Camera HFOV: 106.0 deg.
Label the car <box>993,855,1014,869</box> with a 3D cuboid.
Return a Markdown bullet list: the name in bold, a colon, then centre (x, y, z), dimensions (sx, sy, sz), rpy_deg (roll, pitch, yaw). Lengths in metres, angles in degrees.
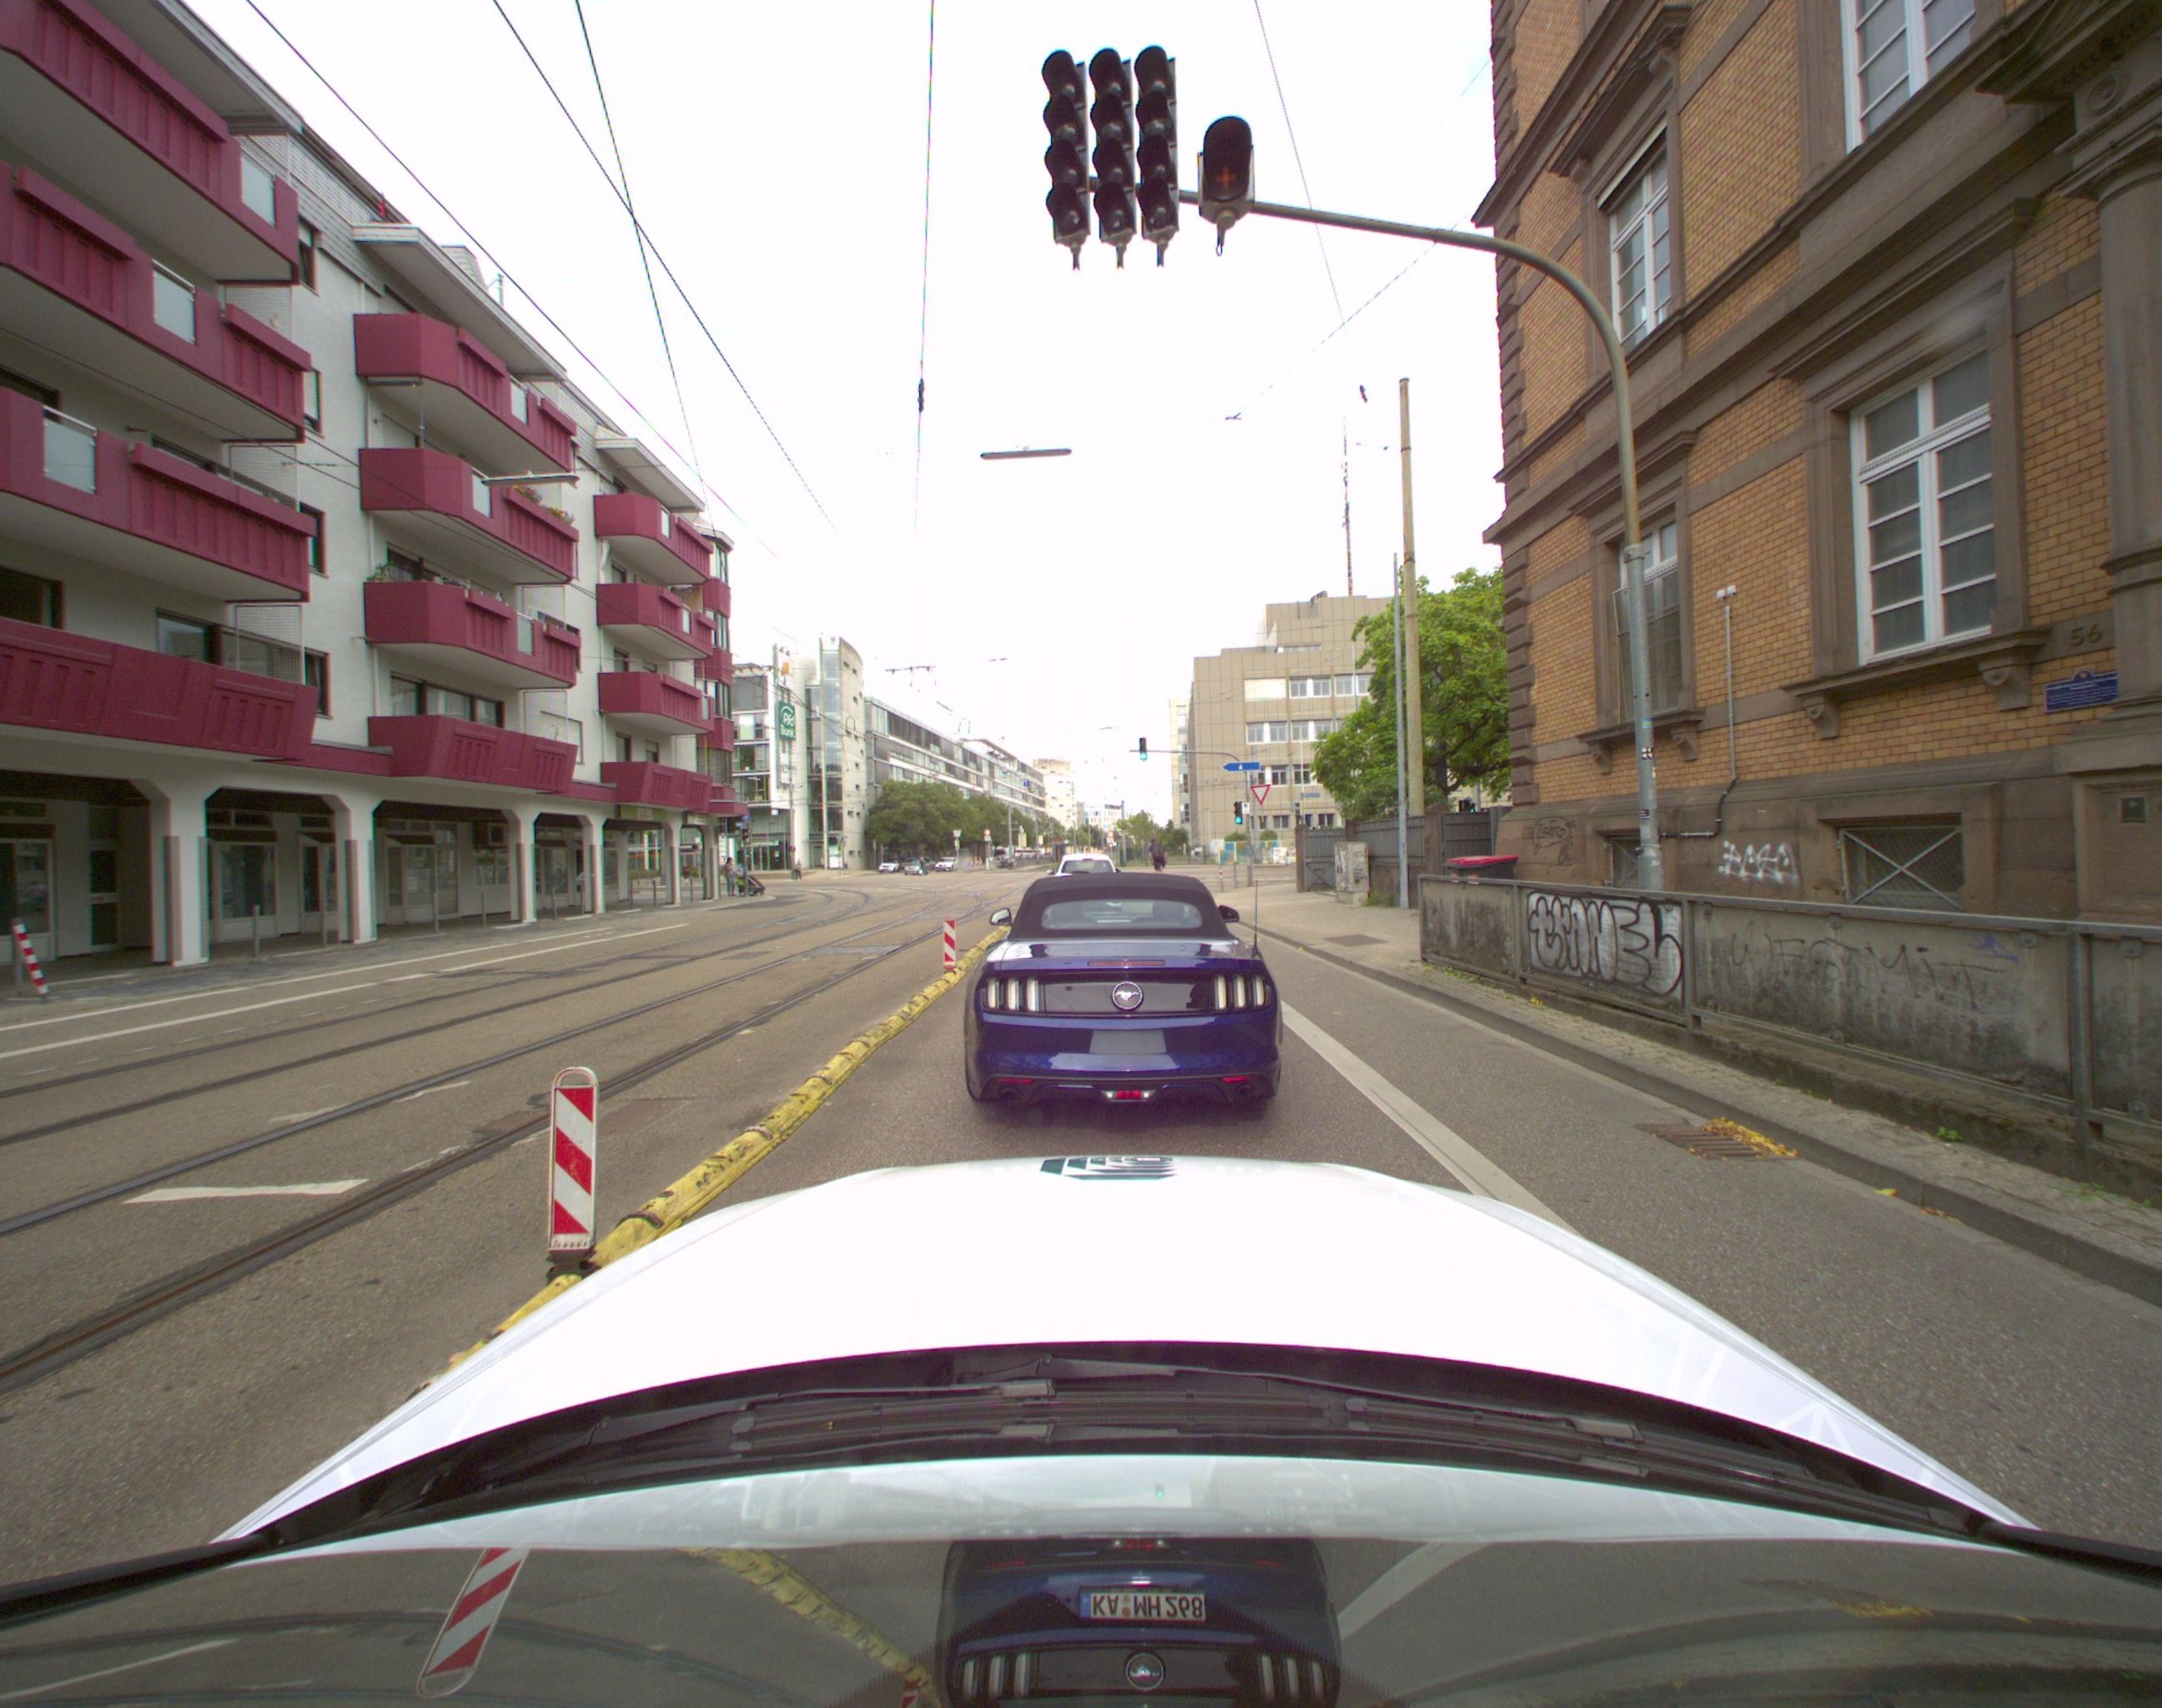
- **car**: centre (-9.276, 0.937, 97.667), dimensions (1.872, 1.628, 4.089), rpy_deg (-2, 0, 2)

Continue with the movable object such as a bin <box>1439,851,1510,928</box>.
- **movable object such as a bin**: centre (6.049, 0.535, 12.553), dimensions (0.649, 1.082, 0.677), rpy_deg (-5, -1, -4)

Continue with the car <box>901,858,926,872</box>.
- **car**: centre (-20.262, 1.303, 98.830), dimensions (1.820, 1.556, 4.223), rpy_deg (0, 0, 6)

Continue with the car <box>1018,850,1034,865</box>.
- **car**: centre (-7.836, 0.506, 116.351), dimensions (1.778, 1.987, 4.123), rpy_deg (-2, 0, 2)

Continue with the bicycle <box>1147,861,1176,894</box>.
- **bicycle**: centre (2.846, 0.820, 28.978), dimensions (0.798, 1.086, 2.131), rpy_deg (-2, 0, 0)

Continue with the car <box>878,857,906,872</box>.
- **car**: centre (-21.266, 1.194, 91.720), dimensions (1.820, 1.556, 4.223), rpy_deg (0, 0, 6)

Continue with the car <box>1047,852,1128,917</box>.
- **car**: centre (0.070, 0.703, 20.949), dimensions (1.831, 1.439, 4.183), rpy_deg (-2, 0, -2)

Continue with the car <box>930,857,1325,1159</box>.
- **car**: centre (0.297, 0.744, 6.023), dimensions (1.869, 1.404, 4.284), rpy_deg (0, 0, 2)

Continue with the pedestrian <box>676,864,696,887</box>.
- **pedestrian**: centre (-28.528, 1.551, 58.827), dimensions (0.928, 1.671, 0.769), rpy_deg (-2, 0, 14)

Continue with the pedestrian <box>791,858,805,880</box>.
- **pedestrian**: centre (-25.324, 1.343, 72.904), dimensions (0.828, 1.865, 0.769), rpy_deg (-2, 0, 14)

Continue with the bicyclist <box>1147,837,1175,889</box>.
- **bicyclist**: centre (2.835, 0.304, 28.901), dimensions (0.793, 1.785, 1.233), rpy_deg (-2, 0, 0)

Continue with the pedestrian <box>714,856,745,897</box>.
- **pedestrian**: centre (-15.382, 0.970, 35.630), dimensions (0.945, 1.743, 0.811), rpy_deg (-2, 0, -2)

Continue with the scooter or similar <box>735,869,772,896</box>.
- **scooter or similar**: centre (-14.336, 1.249, 35.688), dimensions (1.192, 1.128, 0.946), rpy_deg (-1, 0, -1)

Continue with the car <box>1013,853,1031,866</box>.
- **car**: centre (-8.015, 0.702, 111.183), dimensions (1.861, 1.605, 4.214), rpy_deg (-2, 0, 2)

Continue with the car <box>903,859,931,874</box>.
- **car**: centre (-16.765, 1.277, 83.586), dimensions (1.659, 1.506, 4.242), rpy_deg (0, 0, 6)

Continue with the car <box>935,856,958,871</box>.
- **car**: centre (-15.640, 1.108, 94.860), dimensions (1.706, 1.660, 4.140), rpy_deg (0, 0, 6)

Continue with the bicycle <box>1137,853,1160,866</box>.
- **bicycle**: centre (6.021, 0.502, 72.780), dimensions (0.637, 0.981, 2.133), rpy_deg (-2, -2, -40)

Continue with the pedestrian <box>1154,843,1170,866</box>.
- **pedestrian**: centre (7.082, 0.035, 71.129), dimensions (1.075, 1.898, 0.907), rpy_deg (-2, 0, 34)

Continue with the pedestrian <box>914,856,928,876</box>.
- **pedestrian**: centre (-15.142, 1.166, 77.205), dimensions (0.983, 1.855, 0.904), rpy_deg (-2, 0, 8)

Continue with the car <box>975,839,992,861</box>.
- **car**: centre (-16.219, -0.622, 135.981), dimensions (1.978, 3.636, 4.516), rpy_deg (0, 0, 3)

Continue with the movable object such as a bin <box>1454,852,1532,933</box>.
- **movable object such as a bin**: centre (5.968, 0.543, 11.838), dimensions (0.662, 1.082, 0.700), rpy_deg (-5, -1, -3)
